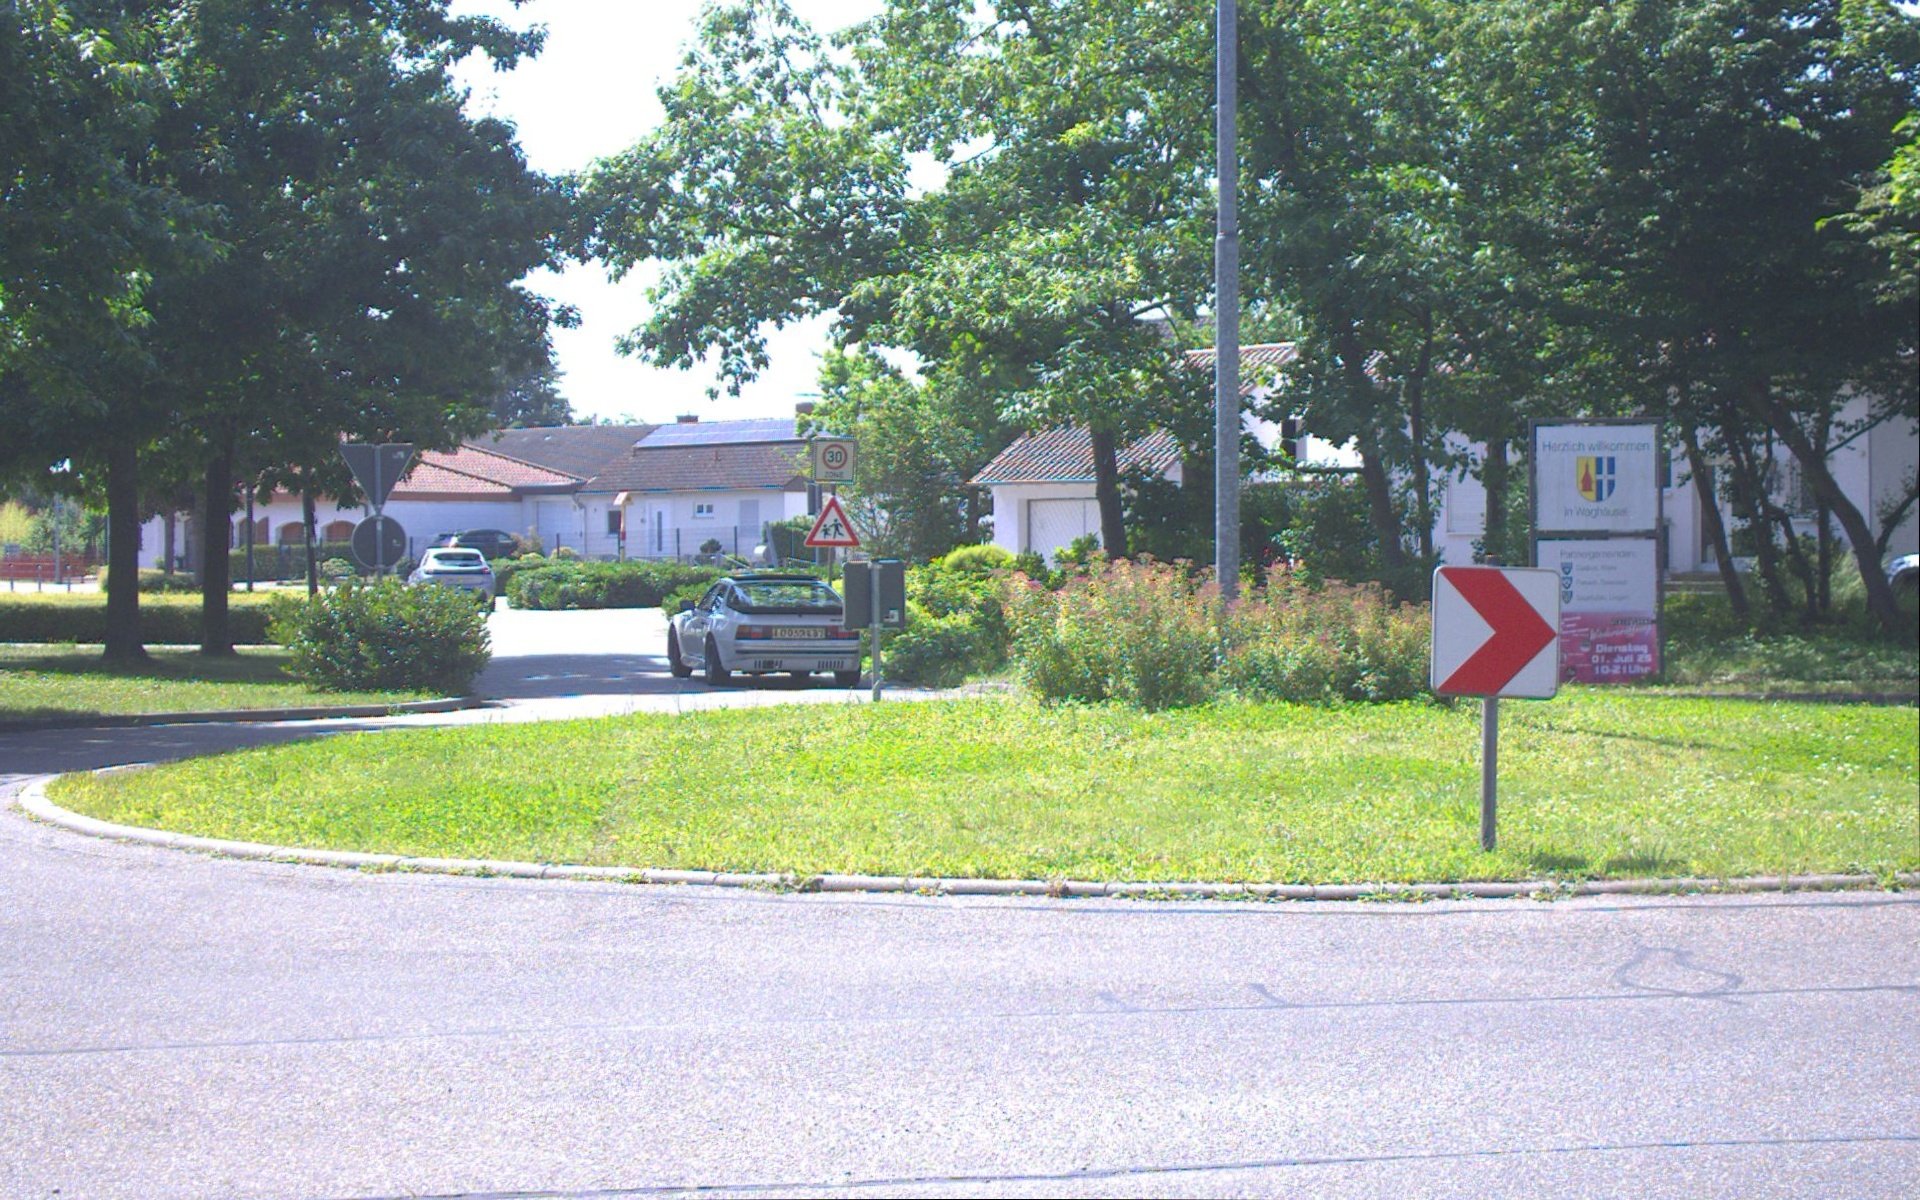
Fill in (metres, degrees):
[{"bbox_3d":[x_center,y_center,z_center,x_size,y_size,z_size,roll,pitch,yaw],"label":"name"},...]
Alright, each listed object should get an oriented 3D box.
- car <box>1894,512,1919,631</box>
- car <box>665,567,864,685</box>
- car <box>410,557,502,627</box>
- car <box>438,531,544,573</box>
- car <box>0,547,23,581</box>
[{"bbox_3d":[15.473,-0.404,48.516,4.140,1.699,1.662,1,1,42],"label":"car"},{"bbox_3d":[-2.331,0.270,40.225,1.614,1.284,3.558,0,1,-15],"label":"car"},{"bbox_3d":[-11.402,-0.193,77.656,1.628,1.481,4.001,-1,1,-14],"label":"car"},{"bbox_3d":[-17.399,-1.770,127.696,1.852,1.537,3.829,0,1,32],"label":"car"},{"bbox_3d":[-37.351,-1.358,129.995,1.995,1.284,3.998,-1,1,-44],"label":"car"}]
